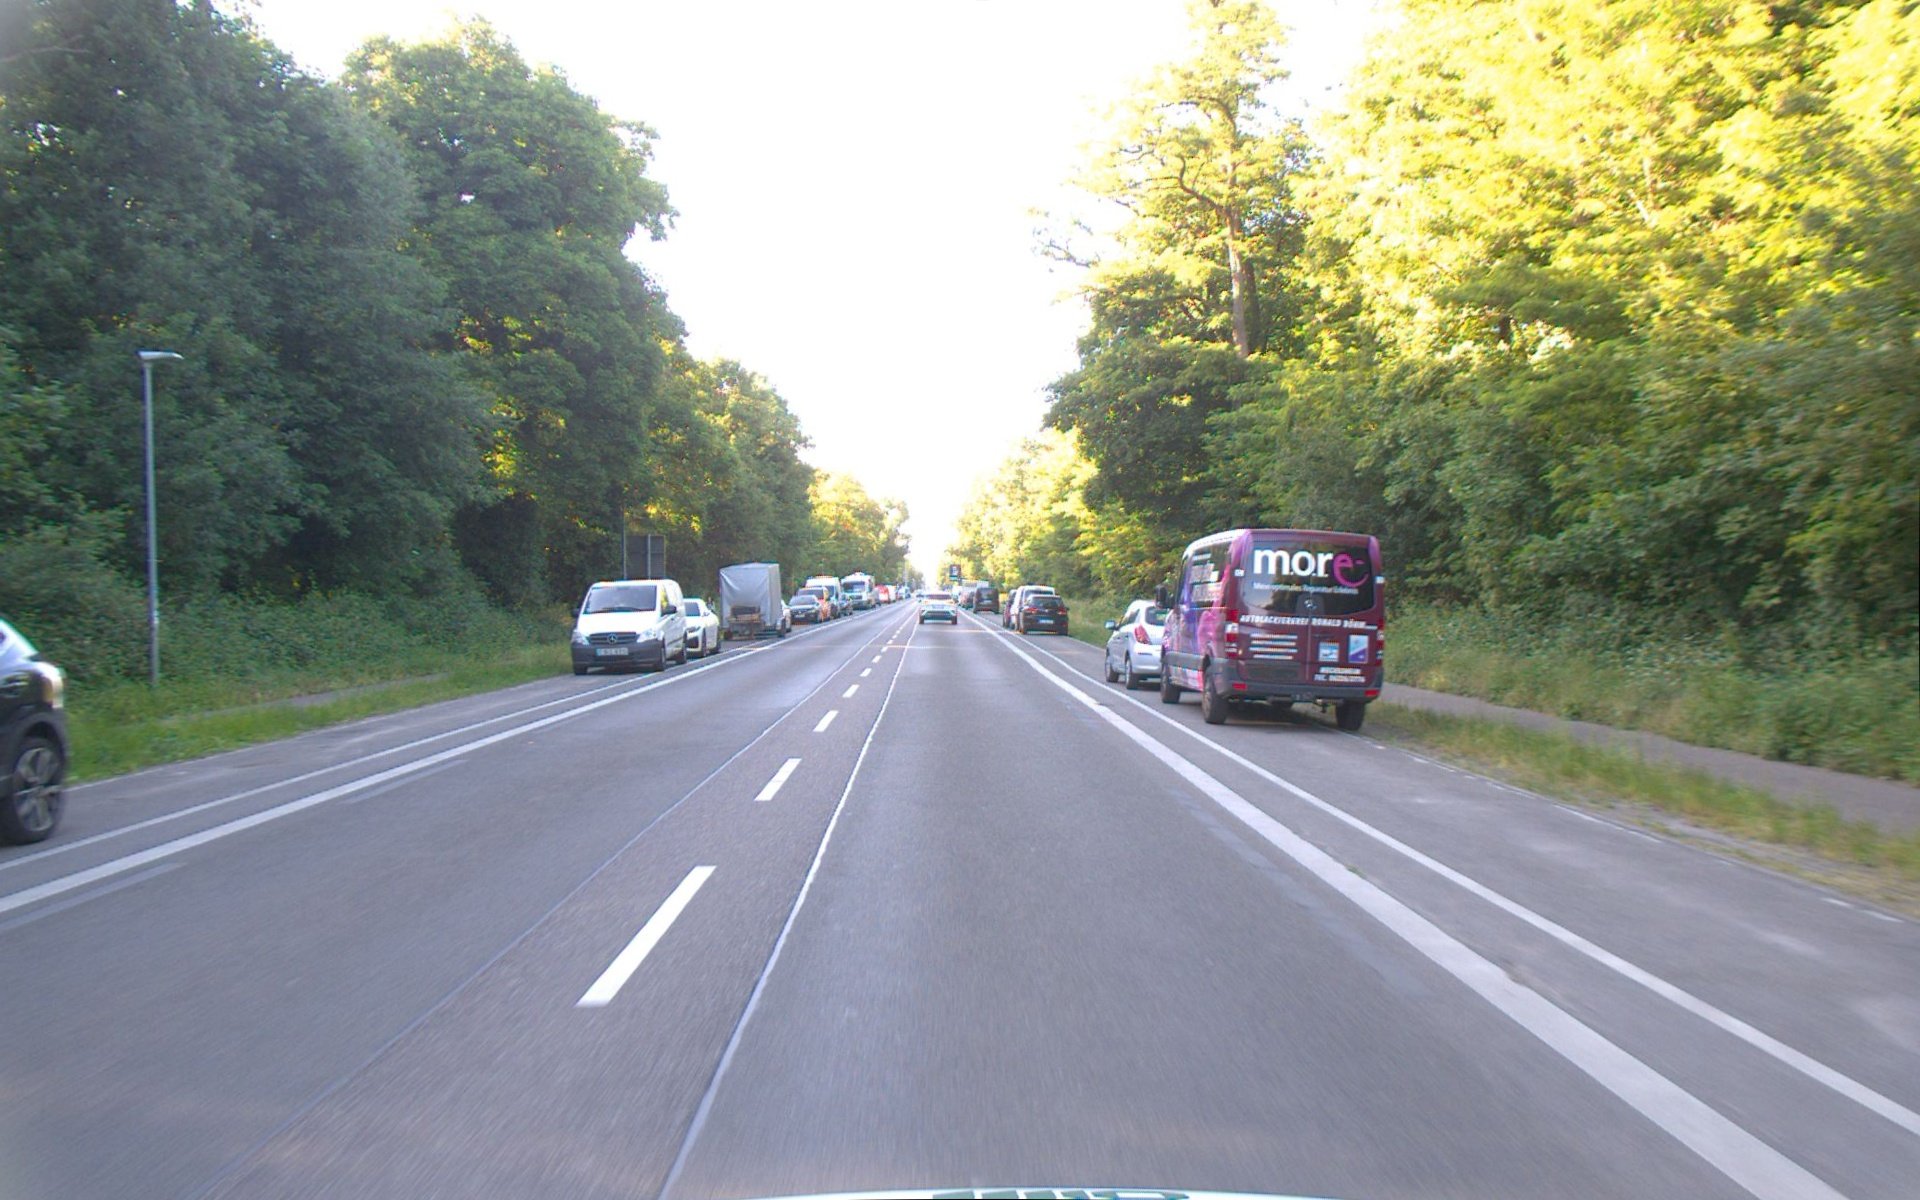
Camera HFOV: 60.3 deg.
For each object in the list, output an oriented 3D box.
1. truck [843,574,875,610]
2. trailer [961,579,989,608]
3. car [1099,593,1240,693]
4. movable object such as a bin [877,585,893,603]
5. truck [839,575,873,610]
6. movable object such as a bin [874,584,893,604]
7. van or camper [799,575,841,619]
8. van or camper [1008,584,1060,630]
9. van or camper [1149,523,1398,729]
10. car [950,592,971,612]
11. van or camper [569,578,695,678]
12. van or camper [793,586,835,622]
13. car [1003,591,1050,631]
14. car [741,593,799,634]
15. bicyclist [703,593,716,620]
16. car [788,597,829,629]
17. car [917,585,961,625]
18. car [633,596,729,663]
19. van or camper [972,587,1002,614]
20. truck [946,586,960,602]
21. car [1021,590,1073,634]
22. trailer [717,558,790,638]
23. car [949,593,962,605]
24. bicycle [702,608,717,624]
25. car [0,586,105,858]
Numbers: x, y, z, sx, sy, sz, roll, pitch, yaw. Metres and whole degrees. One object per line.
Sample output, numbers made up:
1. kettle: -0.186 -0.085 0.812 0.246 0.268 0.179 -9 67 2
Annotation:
1. truck: -9.889 -0.797 162.670 2.652 3.406 10.921 0 0 -1
2. trailer: 1.462 -0.665 167.053 2.701 2.920 6.587 0 0 -1
3. car: 3.597 0.700 29.005 1.712 1.541 3.998 3 0 -3
4. movable object such as a bin: -11.184 -0.898 247.046 2.275 2.545 3.999 0 0 -1
5. truck: -9.433 -0.687 151.051 2.652 3.148 7.988 0 0 -1
6. movable object such as a bin: -9.690 -0.785 210.172 2.275 2.545 3.999 0 0 -1
7. van or camper: -8.666 -0.206 102.919 2.077 2.617 6.541 -1 0 -1
8. van or camper: 3.044 0.279 68.839 1.911 1.847 4.380 0 0 -1
9. van or camper: 3.976 0.274 22.143 1.994 2.352 6.039 -1 0 -2
10. car: 0.062 0.201 145.071 1.803 1.691 4.000 1 0 0
11. van or camper: -6.925 0.551 35.388 1.798 1.945 4.854 -2 0 -2
12. van or camper: -8.079 0.199 91.706 1.884 1.899 4.862 -2 0 -1
13. car: 2.933 0.469 73.720 1.797 1.689 4.337 2 0 -1
14. car: -7.448 0.506 65.210 1.761 1.479 4.624 -1 0 -1
15. bicyclist: -11.732 0.319 77.553 0.477 1.256 0.974 0 0 -1
16. car: -7.763 0.654 84.937 1.696 1.504 4.323 -2 0 -1
17. car: -0.977 0.216 78.071 1.987 1.872 4.028 0 0 -1
18. car: -7.067 0.710 42.318 1.738 1.567 4.523 -2 0 -1
19. van or camper: 1.972 0.027 122.152 1.953 1.966 5.198 1 0 -1
20. truck: -1.093 -0.956 258.164 2.054 2.495 5.679 0 0 -1
21. car: 3.243 0.417 62.182 1.656 1.551 4.149 1 0 -1
22. trailer: -7.217 -0.070 58.122 1.953 2.643 4.415 -2 0 -1
23. car: -0.557 -0.112 202.725 1.622 1.504 3.753 0 0 -1
24. bicycle: -11.729 0.741 77.550 0.511 0.725 1.487 0 0 -1
25. car: -6.693 0.782 9.234 1.612 1.660 4.273 -2 0 -1
